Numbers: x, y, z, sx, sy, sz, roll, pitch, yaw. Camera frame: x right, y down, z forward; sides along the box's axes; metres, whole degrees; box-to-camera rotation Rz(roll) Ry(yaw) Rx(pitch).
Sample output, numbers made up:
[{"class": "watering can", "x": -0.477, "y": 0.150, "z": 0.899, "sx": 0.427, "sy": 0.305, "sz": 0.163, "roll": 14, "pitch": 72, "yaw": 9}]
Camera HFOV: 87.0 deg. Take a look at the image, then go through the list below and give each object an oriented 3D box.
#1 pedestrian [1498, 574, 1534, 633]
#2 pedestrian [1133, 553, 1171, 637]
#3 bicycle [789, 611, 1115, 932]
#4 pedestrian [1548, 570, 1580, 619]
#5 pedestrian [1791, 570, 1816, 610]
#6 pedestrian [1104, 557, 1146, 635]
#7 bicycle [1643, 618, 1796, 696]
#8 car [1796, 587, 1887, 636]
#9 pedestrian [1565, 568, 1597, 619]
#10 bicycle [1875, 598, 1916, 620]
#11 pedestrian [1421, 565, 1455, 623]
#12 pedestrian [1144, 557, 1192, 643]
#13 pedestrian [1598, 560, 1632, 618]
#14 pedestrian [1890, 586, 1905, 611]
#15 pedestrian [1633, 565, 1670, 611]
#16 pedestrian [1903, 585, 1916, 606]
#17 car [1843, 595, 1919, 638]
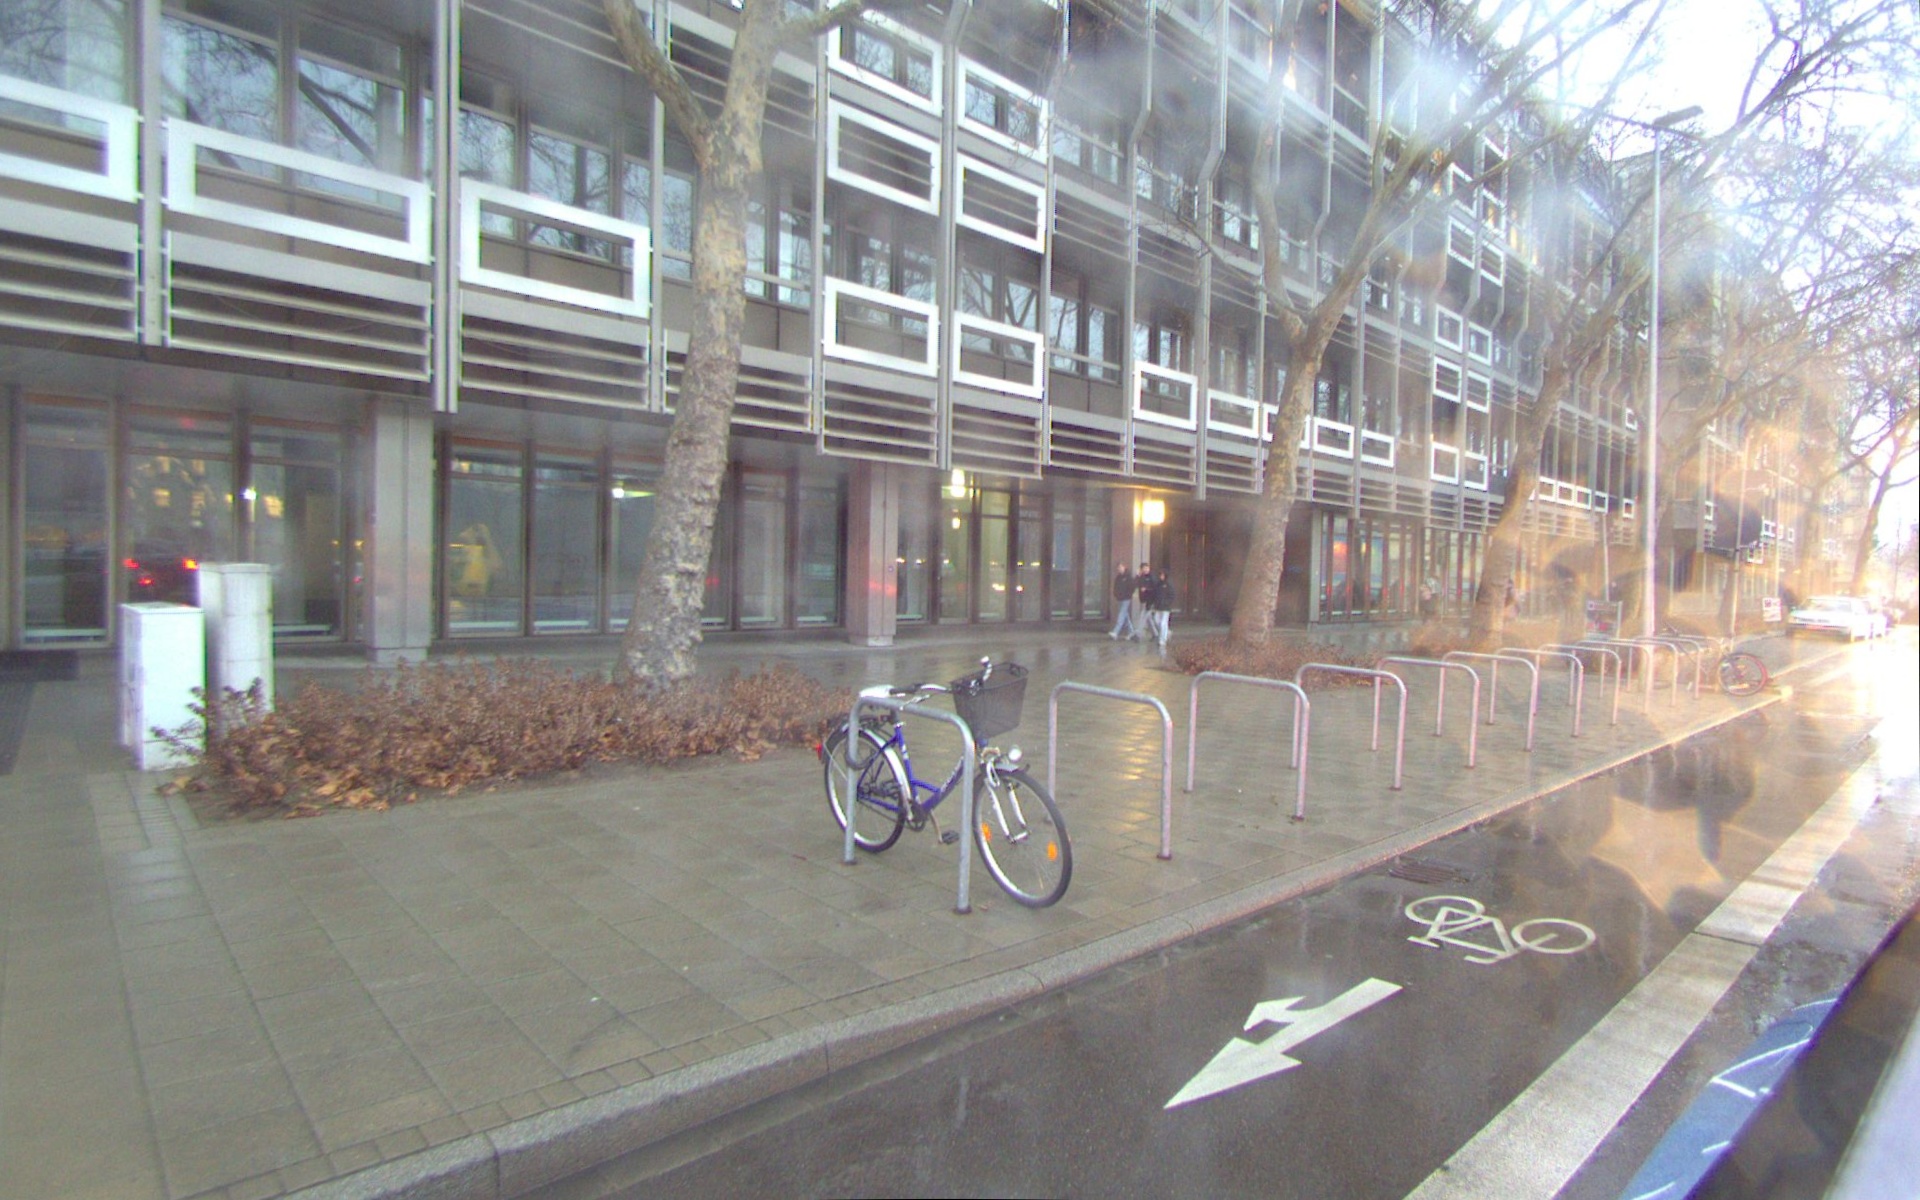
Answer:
[{"class": "pedestrian", "x": 14.895, "y": 0.083, "z": 27.111, "sx": 0.604, "sy": 1.563, "sz": 0.649, "roll": 0, "pitch": 1, "yaw": -40}, {"class": "pedestrian", "x": 3.933, "y": -0.110, "z": 20.735, "sx": 0.701, "sy": 1.689, "sz": 0.379, "roll": 0, "pitch": 1, "yaw": -41}, {"class": "bicycle", "x": -0.118, "y": 0.700, "z": 4.834, "sx": 0.428, "sy": 1.162, "sz": 1.752, "roll": 0, "pitch": 4, "yaw": -44}, {"class": "pedestrian", "x": 21.074, "y": -0.218, "z": 35.306, "sx": 0.630, "sy": 1.675, "sz": 0.841, "roll": 1, "pitch": 1, "yaw": 7}, {"class": "pedestrian", "x": 43.523, "y": -0.510, "z": 52.209, "sx": 1.007, "sy": 2.039, "sz": 0.790, "roll": 0, "pitch": 1, "yaw": -41}, {"class": "pedestrian", "x": 3.431, "y": -0.089, "z": 21.082, "sx": 0.733, "sy": 1.583, "sz": 0.484, "roll": 0, "pitch": 1, "yaw": -42}, {"class": "bicycle", "x": 11.648, "y": 0.844, "z": 15.562, "sx": 0.607, "sy": 0.986, "sz": 1.789, "roll": 0, "pitch": 3, "yaw": -45}, {"class": "car", "x": 29.422, "y": 0.330, "z": 33.748, "sx": 3.859, "sy": 1.449, "sz": 1.609, "roll": 0, "pitch": 5, "yaw": -39}, {"class": "pedestrian", "x": 21.779, "y": -0.244, "z": 35.516, "sx": 0.650, "sy": 1.739, "sz": 0.840, "roll": 1, "pitch": 1, "yaw": 10}, {"class": "bicycle", "x": 47.000, "y": 0.442, "z": 50.866, "sx": 1.518, "sy": 1.049, "sz": 0.462, "roll": 0, "pitch": 1, "yaw": 42}, {"class": "pedestrian", "x": 14.041, "y": -0.178, "z": 29.713, "sx": 0.767, "sy": 1.677, "sz": 0.617, "roll": 0, "pitch": 1, "yaw": -41}, {"class": "pedestrian", "x": 4.168, "y": -0.013, "z": 20.274, "sx": 0.858, "sy": 1.689, "sz": 0.501, "roll": 0, "pitch": 2, "yaw": -41}, {"class": "pedestrian", "x": 23.326, "y": -0.393, "z": 36.053, "sx": 0.723, "sy": 2.039, "sz": 0.821, "roll": 0, "pitch": 1, "yaw": -43}, {"class": "pedestrian", "x": 78.376, "y": -0.121, "z": 84.629, "sx": 0.758, "sy": 2.039, "sz": 0.837, "roll": -1, "pitch": 0, "yaw": -42}, {"class": "pedestrian", "x": 23.952, "y": -0.414, "z": 35.046, "sx": 0.824, "sy": 1.543, "sz": 0.865, "roll": 0, "pitch": 2, "yaw": -44}, {"class": "pedestrian", "x": 93.335, "y": -0.475, "z": 99.460, "sx": 0.758, "sy": 2.039, "sz": 0.837, "roll": -1, "pitch": 0, "yaw": -42}, {"class": "car", "x": 35.483, "y": 0.600, "z": 38.750, "sx": 3.930, "sy": 1.504, "sz": 1.997, "roll": -1, "pitch": 1, "yaw": -41}]
